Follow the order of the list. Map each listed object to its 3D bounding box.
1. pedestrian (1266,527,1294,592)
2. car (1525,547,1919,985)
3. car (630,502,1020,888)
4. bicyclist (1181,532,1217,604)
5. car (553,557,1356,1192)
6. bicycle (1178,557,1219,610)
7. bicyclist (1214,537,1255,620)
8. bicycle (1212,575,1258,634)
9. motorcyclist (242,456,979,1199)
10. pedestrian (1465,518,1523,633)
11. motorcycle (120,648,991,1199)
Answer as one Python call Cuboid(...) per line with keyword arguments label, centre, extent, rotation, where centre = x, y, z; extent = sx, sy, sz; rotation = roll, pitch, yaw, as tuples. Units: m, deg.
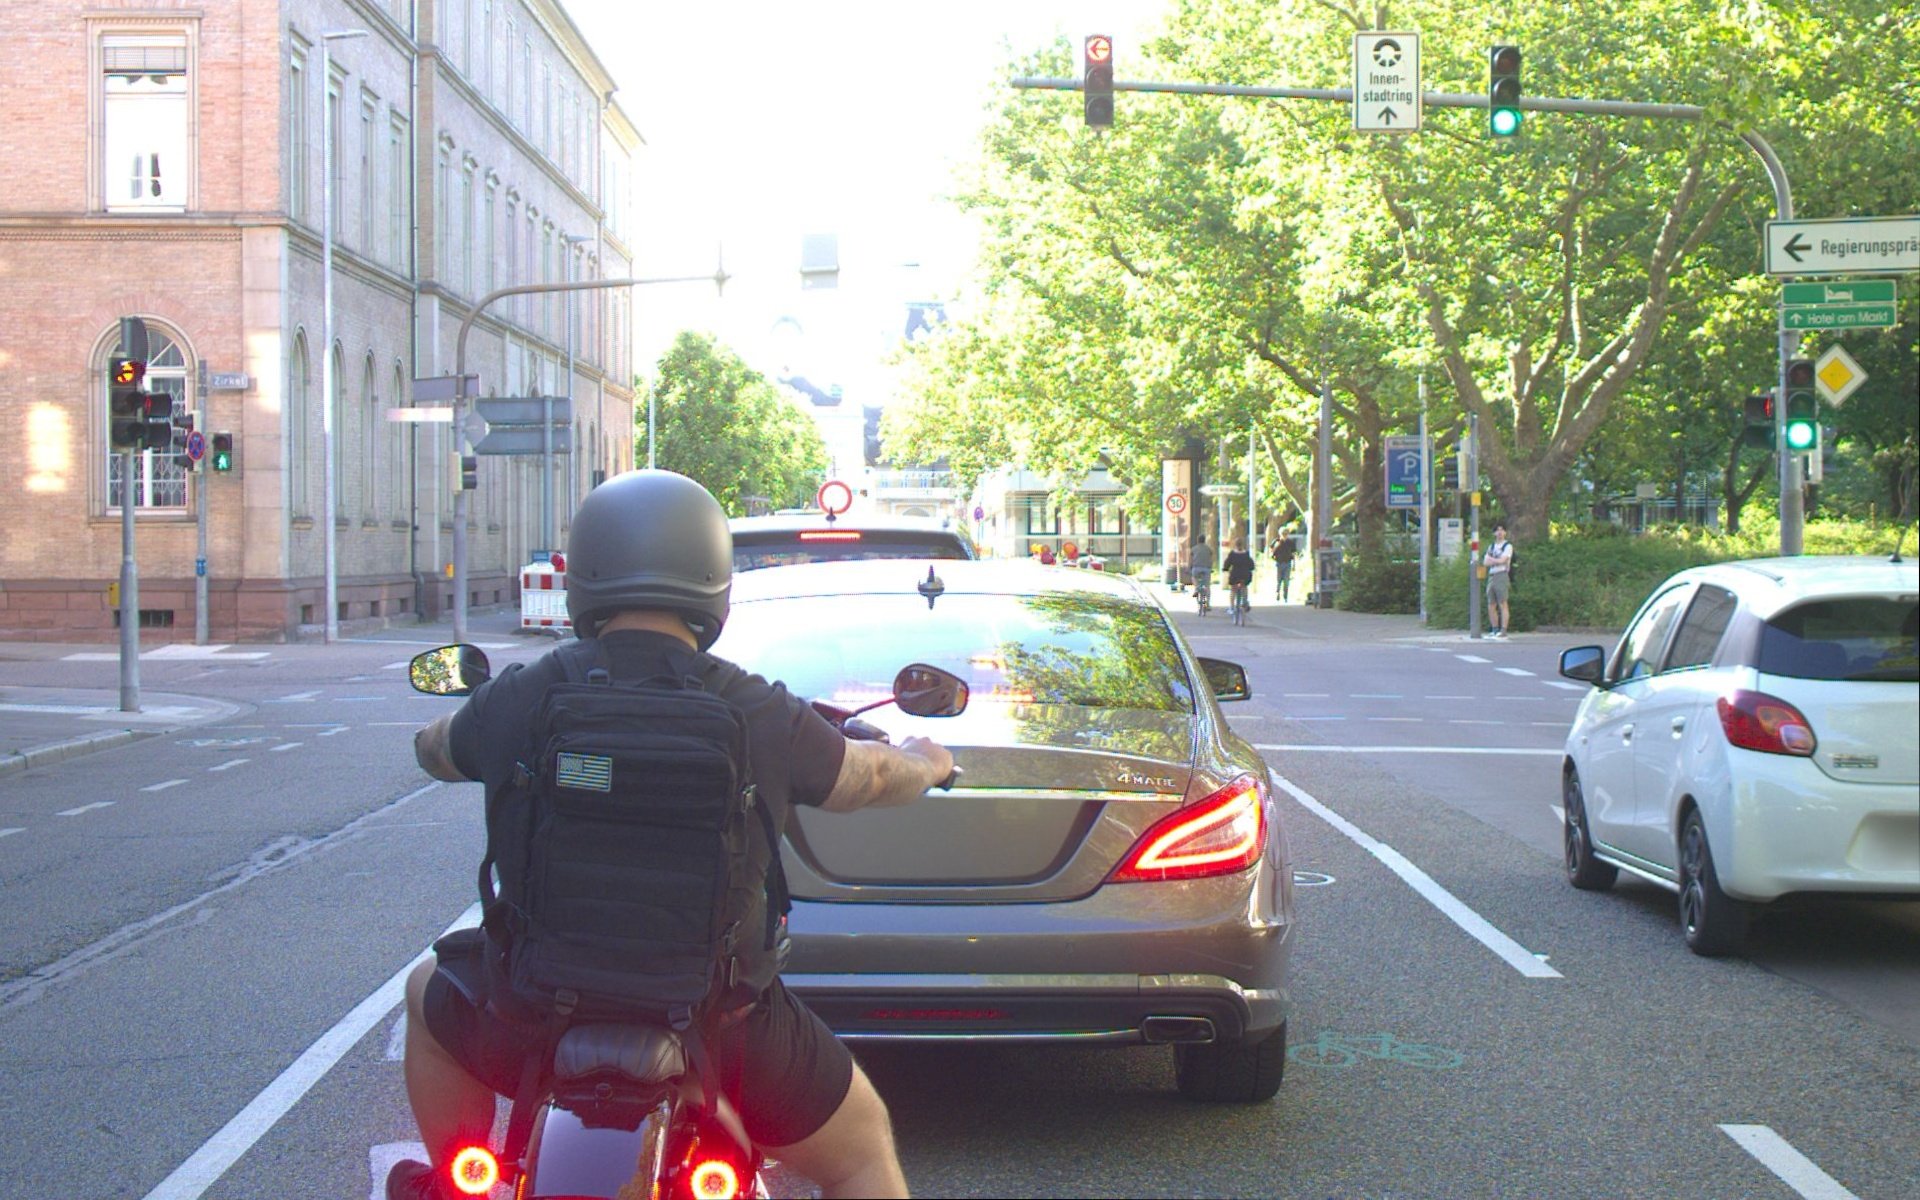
Cuboid(label="pedestrian", centre=(7.793, -0.981, 83.655), extent=(0.592, 1.573, 0.527), rotation=(2, 0, 0))
Cuboid(label="car", centre=(3.417, 0.566, 13.717), extent=(1.679, 1.493, 3.685), rotation=(2, 1, 0))
Cuboid(label="car", centre=(-0.766, 0.392, 16.902), extent=(1.630, 1.645, 3.851), rotation=(1, 1, -6))
Cuboid(label="bicyclist", centre=(5.157, -0.686, 74.250), extent=(0.656, 1.525, 0.906), rotation=(2, 1, -1))
Cuboid(label="car", centre=(-0.040, 0.607, 9.796), extent=(1.828, 1.415, 3.815), rotation=(1, 1, -1))
Cuboid(label="bicycle", centre=(5.146, -0.368, 74.267), extent=(0.656, 1.107, 2.186), rotation=(2, 1, -1))
Cuboid(label="bicyclist", centre=(5.156, -0.403, 64.646), extent=(0.656, 1.525, 0.852), rotation=(2, 1, -1))
Cuboid(label="bicycle", centre=(5.156, 0.084, 64.569), extent=(0.656, 1.066, 1.927), rotation=(2, 1, -1))
Cuboid(label="motorcyclist", centre=(-0.490, 0.586, 5.451), extent=(1.012, 1.596, 1.406), rotation=(0, 1, -1))
Cuboid(label="pedestrian", centre=(8.282, -0.379, 53.322), extent=(0.570, 1.768, 0.625), rotation=(1, 1, -35))
Cuboid(label="motorcycle", centre=(-0.489, 0.772, 5.348), extent=(1.012, 1.302, 2.673), rotation=(0, 1, -1))
